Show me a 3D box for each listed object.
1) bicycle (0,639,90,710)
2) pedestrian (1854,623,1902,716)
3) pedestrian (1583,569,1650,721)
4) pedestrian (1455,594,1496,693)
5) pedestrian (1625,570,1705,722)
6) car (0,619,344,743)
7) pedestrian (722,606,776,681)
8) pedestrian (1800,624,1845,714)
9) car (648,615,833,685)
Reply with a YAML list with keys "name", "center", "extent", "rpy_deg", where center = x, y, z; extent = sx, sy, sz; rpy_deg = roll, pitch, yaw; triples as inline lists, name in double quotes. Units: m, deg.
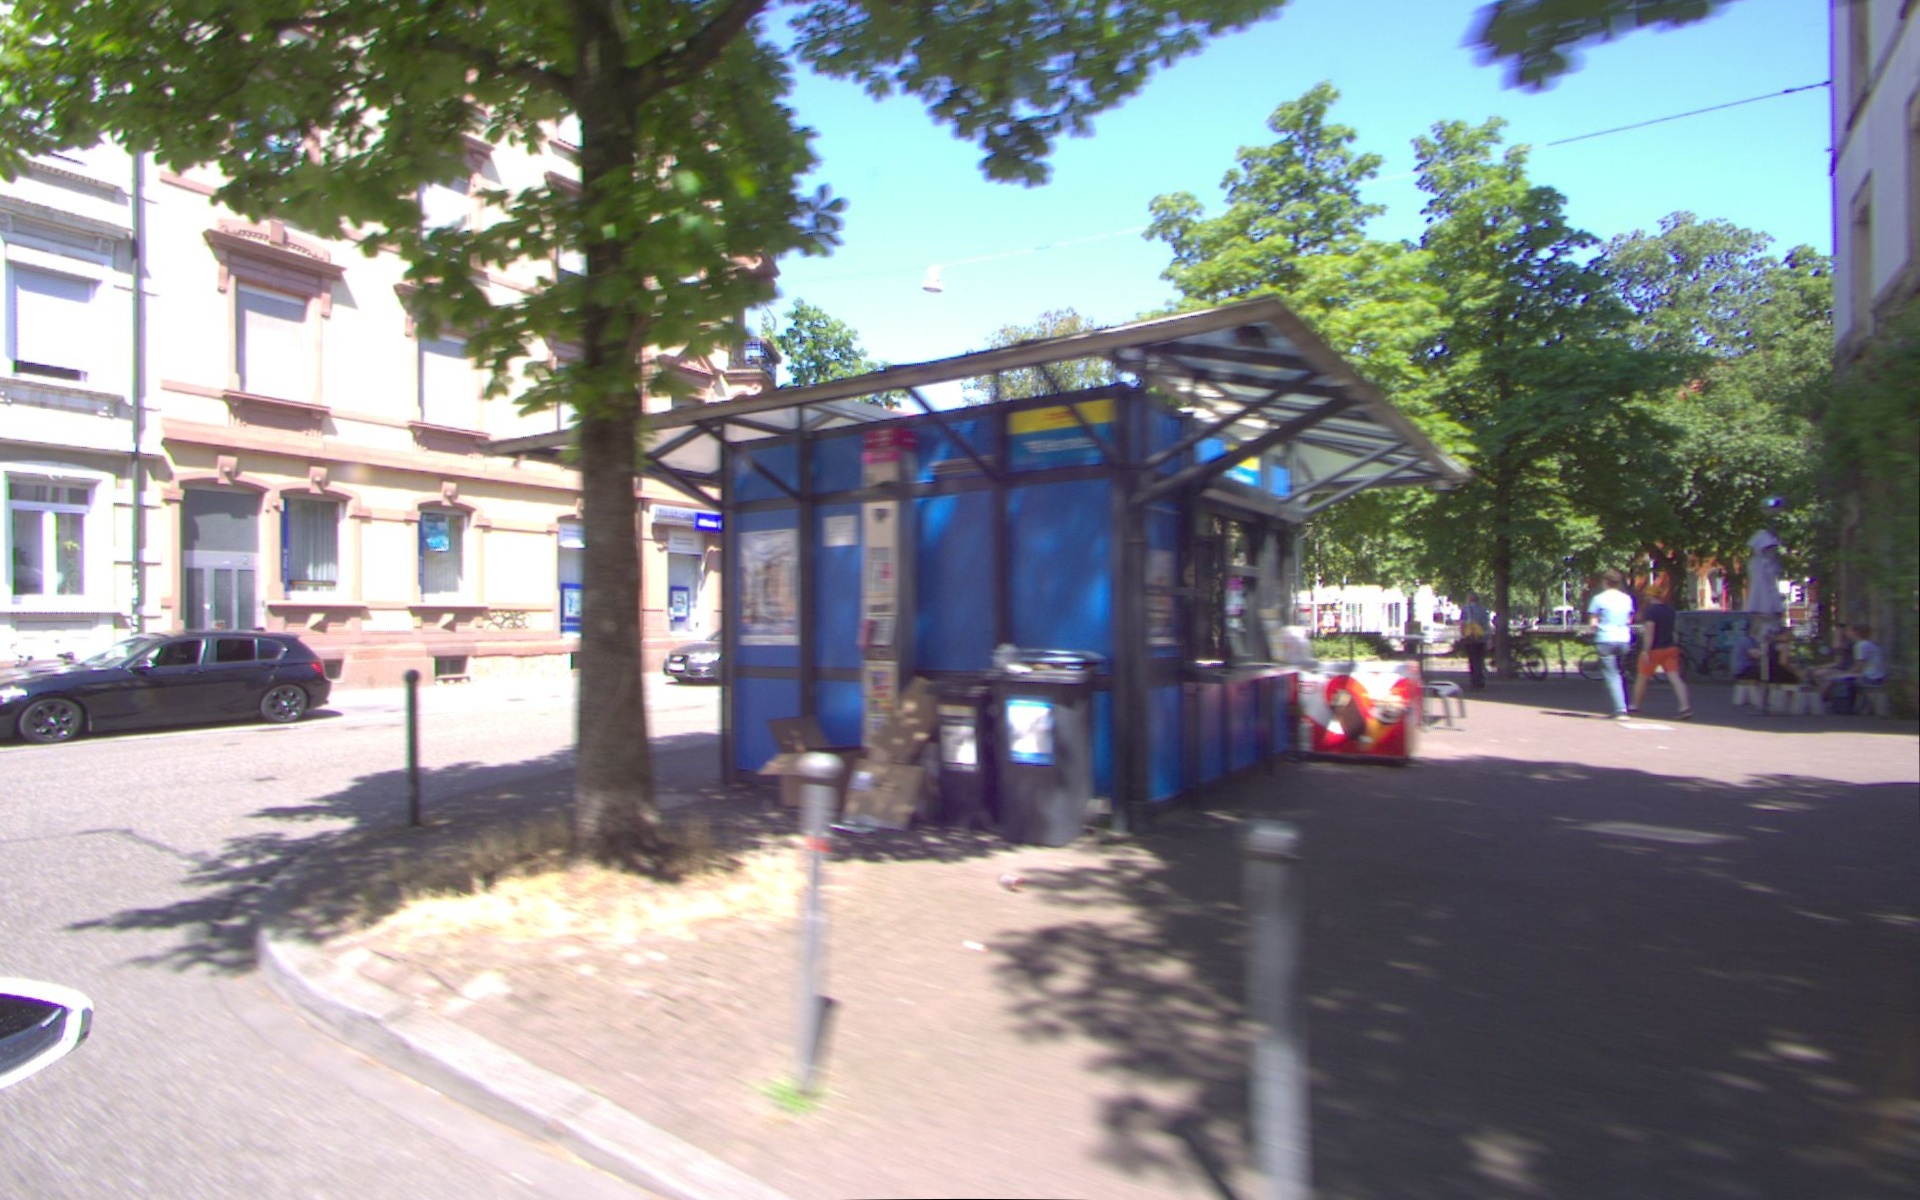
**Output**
- name: "bicycle"
  center: [-14.843, 1.165, 15.536]
  extent: [0.417, 1.035, 2.001]
  rpy_deg: [3, 2, 31]
- name: "pedestrian"
  center: [12.265, 0.915, 13.383]
  extent: [0.408, 1.198, 0.442]
  rpy_deg: [-1, 0, 35]
- name: "pedestrian"
  center: [8.436, 0.571, 12.886]
  extent: [0.510, 1.893, 0.653]
  rpy_deg: [-1, 0, 14]
- name: "pedestrian"
  center: [9.763, 0.812, 18.982]
  extent: [0.594, 1.836, 0.587]
  rpy_deg: [-1, 0, 18]
- name: "pedestrian"
  center: [9.161, 0.591, 13.034]
  extent: [0.590, 1.904, 0.881]
  rpy_deg: [-1, 0, 18]
- name: "car"
  center: [-11.494, 1.031, 14.279]
  extent: [1.781, 1.389, 4.284]
  rpy_deg: [2, 1, 33]
- name: "pedestrian"
  center: [-5.879, 1.204, 27.965]
  extent: [1.033, 2.040, 1.229]
  rpy_deg: [-1, 0, 12]
- name: "pedestrian"
  center: [11.729, 0.925, 13.630]
  extent: [0.408, 1.198, 0.442]
  rpy_deg: [-1, 0, 35]
- name: "car"
  center: [-5.175, 1.130, 24.220]
  extent: [1.781, 1.475, 4.411]
  rpy_deg: [0, 0, 33]
